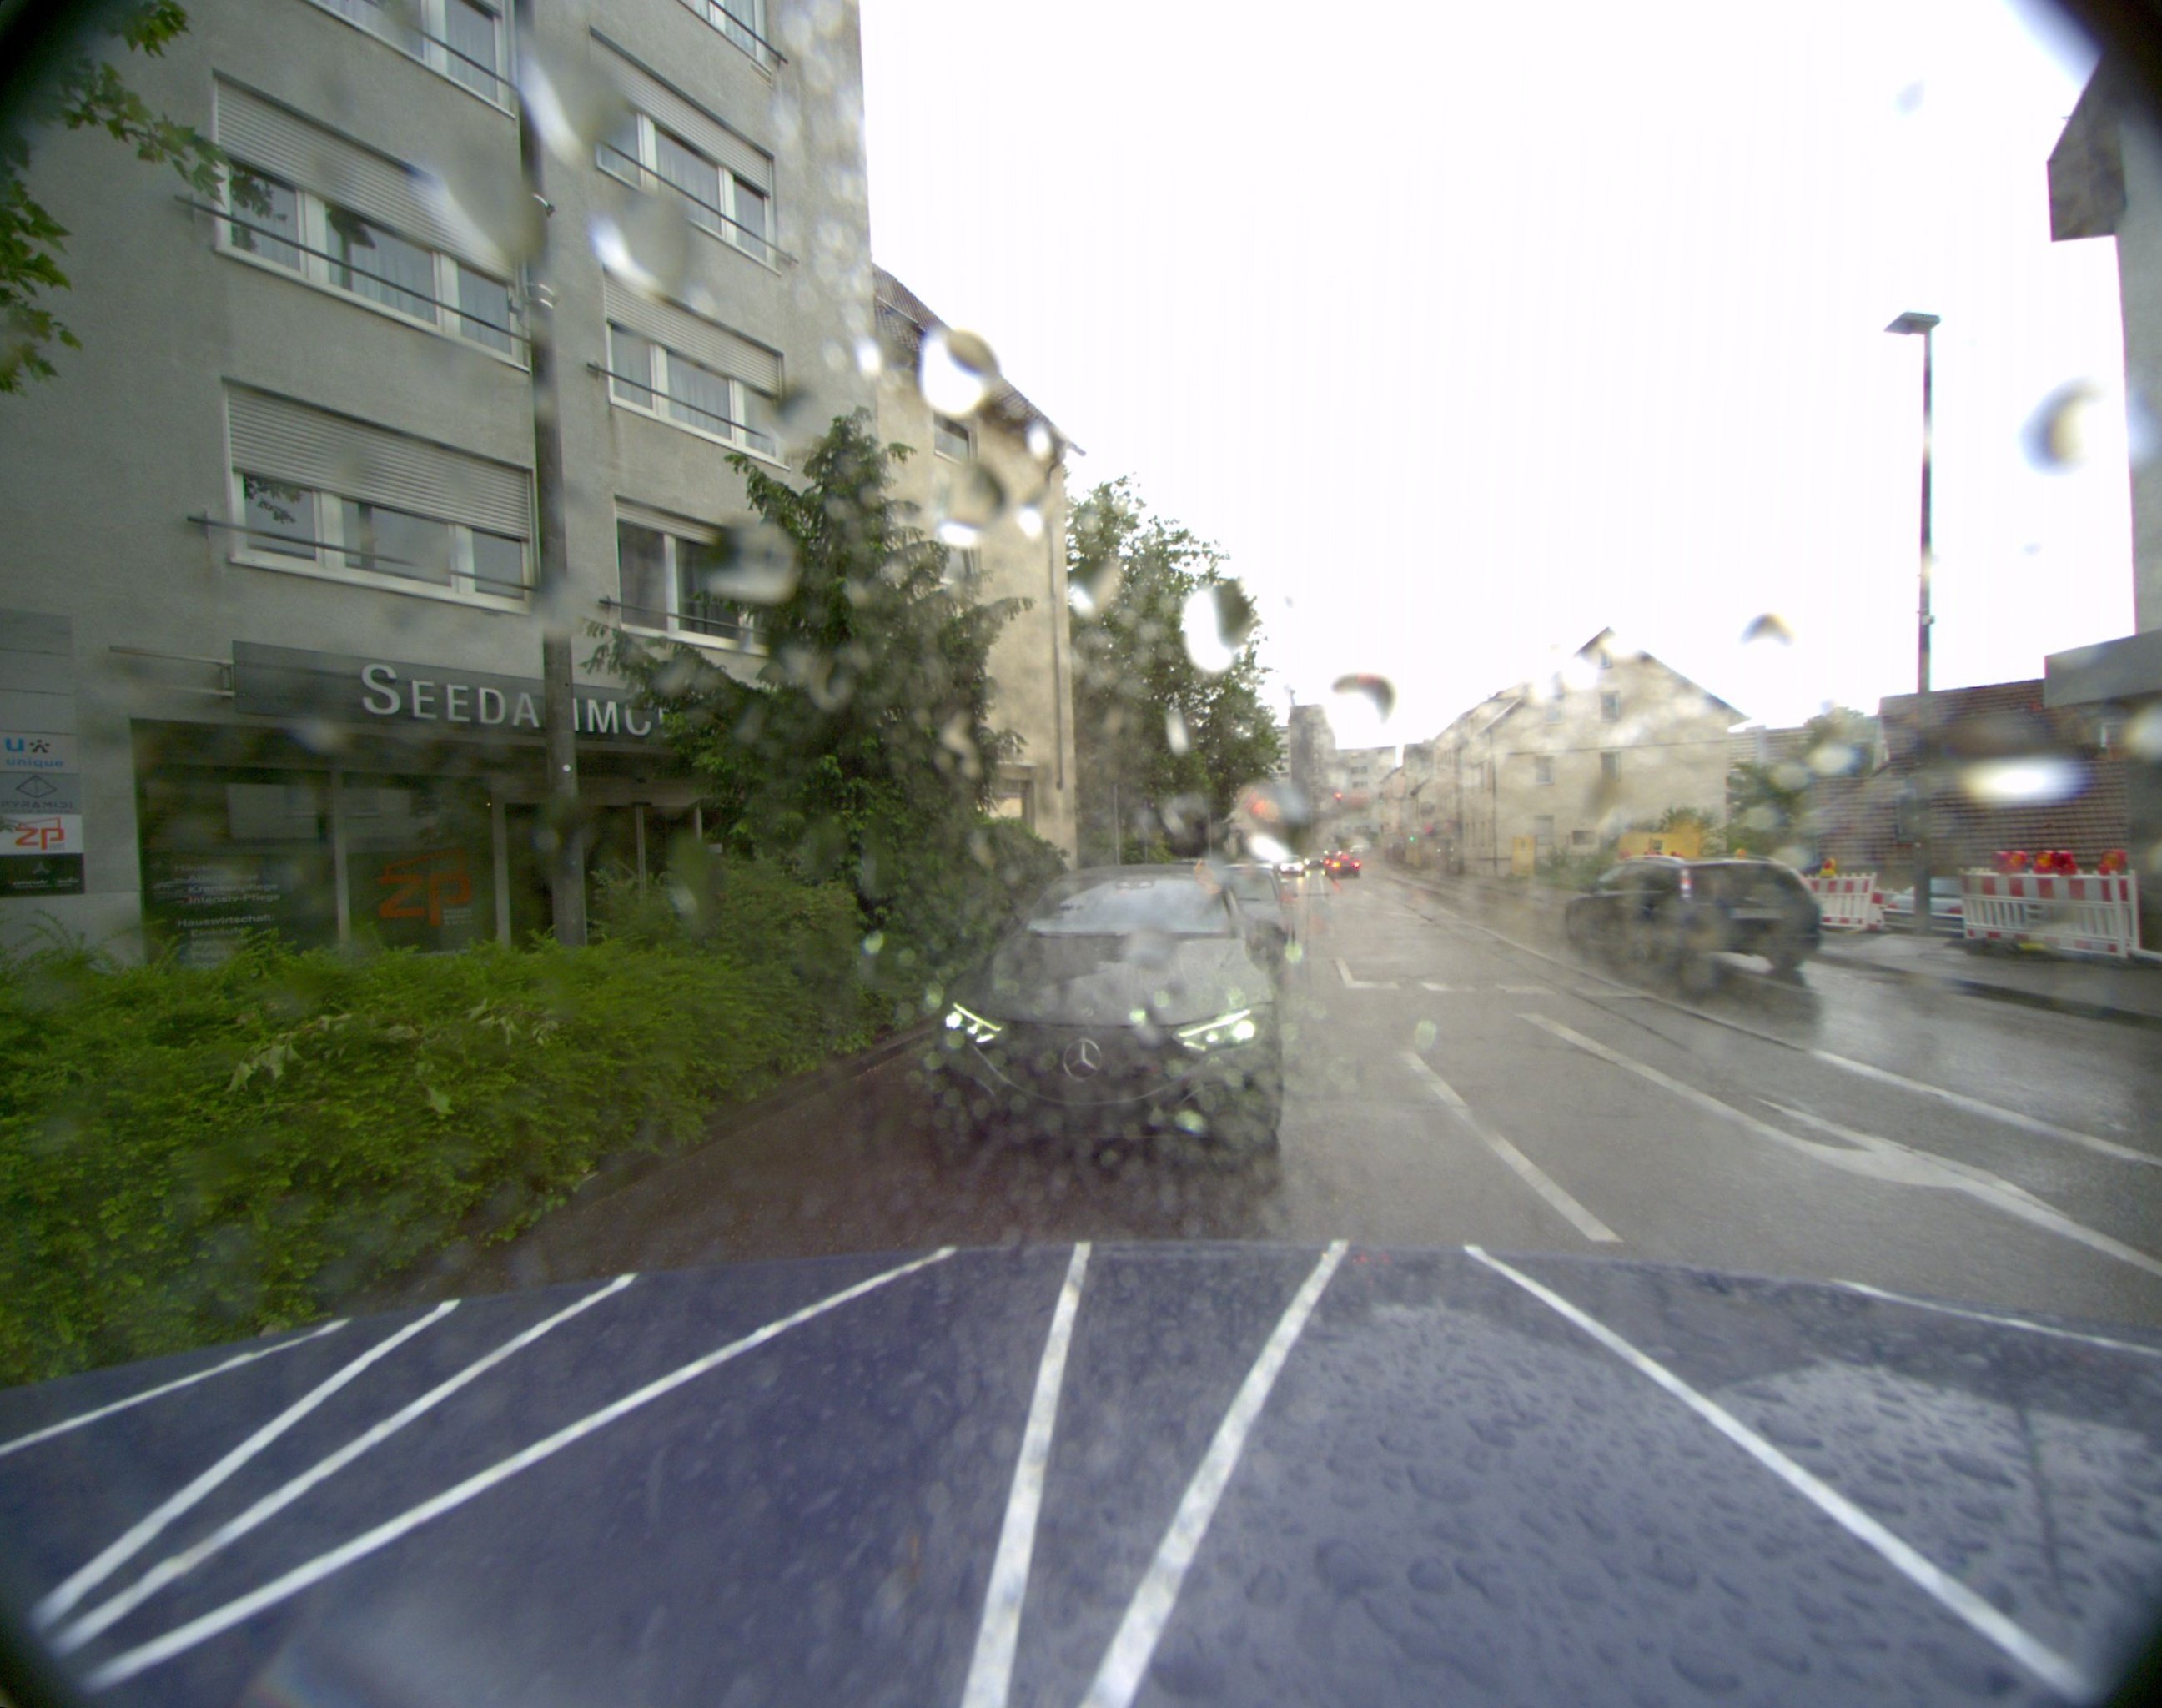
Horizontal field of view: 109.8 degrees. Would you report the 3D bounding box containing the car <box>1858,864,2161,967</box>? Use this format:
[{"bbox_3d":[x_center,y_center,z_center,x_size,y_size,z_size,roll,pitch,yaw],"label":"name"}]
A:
[{"bbox_3d":[16.490,1.044,13.426,3.505,1.382,1.653,6,-1,8],"label":"car"}]

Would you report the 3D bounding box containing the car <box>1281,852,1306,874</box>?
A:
[{"bbox_3d":[15.898,0.679,56.786,1.613,1.495,3.722,-3,0,17],"label":"car"}]

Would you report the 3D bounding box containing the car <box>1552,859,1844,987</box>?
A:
[{"bbox_3d":[8.685,0.841,11.230,1.734,1.501,4.278,-1,0,15],"label":"car"}]

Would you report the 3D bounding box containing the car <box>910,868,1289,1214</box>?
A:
[{"bbox_3d":[0.475,0.951,5.819,1.819,1.562,4.280,-3,-1,11],"label":"car"}]

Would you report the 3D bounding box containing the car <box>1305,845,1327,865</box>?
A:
[{"bbox_3d":[22.602,0.109,73.071,1.790,1.841,3.841,-2,0,20],"label":"car"}]

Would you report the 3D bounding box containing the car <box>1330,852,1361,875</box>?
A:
[{"bbox_3d":[17.235,0.597,49.650,1.709,1.375,3.674,-2,0,16],"label":"car"}]

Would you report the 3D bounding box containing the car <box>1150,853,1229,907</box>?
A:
[{"bbox_3d":[4.059,0.883,27.807,1.933,1.770,4.740,-1,0,20],"label":"car"}]

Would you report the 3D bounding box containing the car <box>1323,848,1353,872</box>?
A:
[{"bbox_3d":[18.871,0.417,55.922,1.818,1.635,4.281,-2,-1,16],"label":"car"}]

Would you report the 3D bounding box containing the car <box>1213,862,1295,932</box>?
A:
[{"bbox_3d":[4.215,0.960,18.344,1.685,1.413,4.004,-2,0,14],"label":"car"}]

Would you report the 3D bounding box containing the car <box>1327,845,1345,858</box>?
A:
[{"bbox_3d":[32.522,-0.301,96.756,1.790,1.555,3.841,-2,0,24],"label":"car"}]

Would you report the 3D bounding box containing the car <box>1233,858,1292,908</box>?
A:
[{"bbox_3d":[6.094,0.917,25.289,1.684,1.452,4.005,-2,0,16],"label":"car"}]

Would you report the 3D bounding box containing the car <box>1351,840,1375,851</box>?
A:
[{"bbox_3d":[42.975,-1.326,115.762,3.843,1.555,1.736,-2,0,-43],"label":"car"}]

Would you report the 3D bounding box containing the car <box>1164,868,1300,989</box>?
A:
[{"bbox_3d":[2.427,0.964,11.499,1.639,1.424,3.810,-1,0,17],"label":"car"}]
